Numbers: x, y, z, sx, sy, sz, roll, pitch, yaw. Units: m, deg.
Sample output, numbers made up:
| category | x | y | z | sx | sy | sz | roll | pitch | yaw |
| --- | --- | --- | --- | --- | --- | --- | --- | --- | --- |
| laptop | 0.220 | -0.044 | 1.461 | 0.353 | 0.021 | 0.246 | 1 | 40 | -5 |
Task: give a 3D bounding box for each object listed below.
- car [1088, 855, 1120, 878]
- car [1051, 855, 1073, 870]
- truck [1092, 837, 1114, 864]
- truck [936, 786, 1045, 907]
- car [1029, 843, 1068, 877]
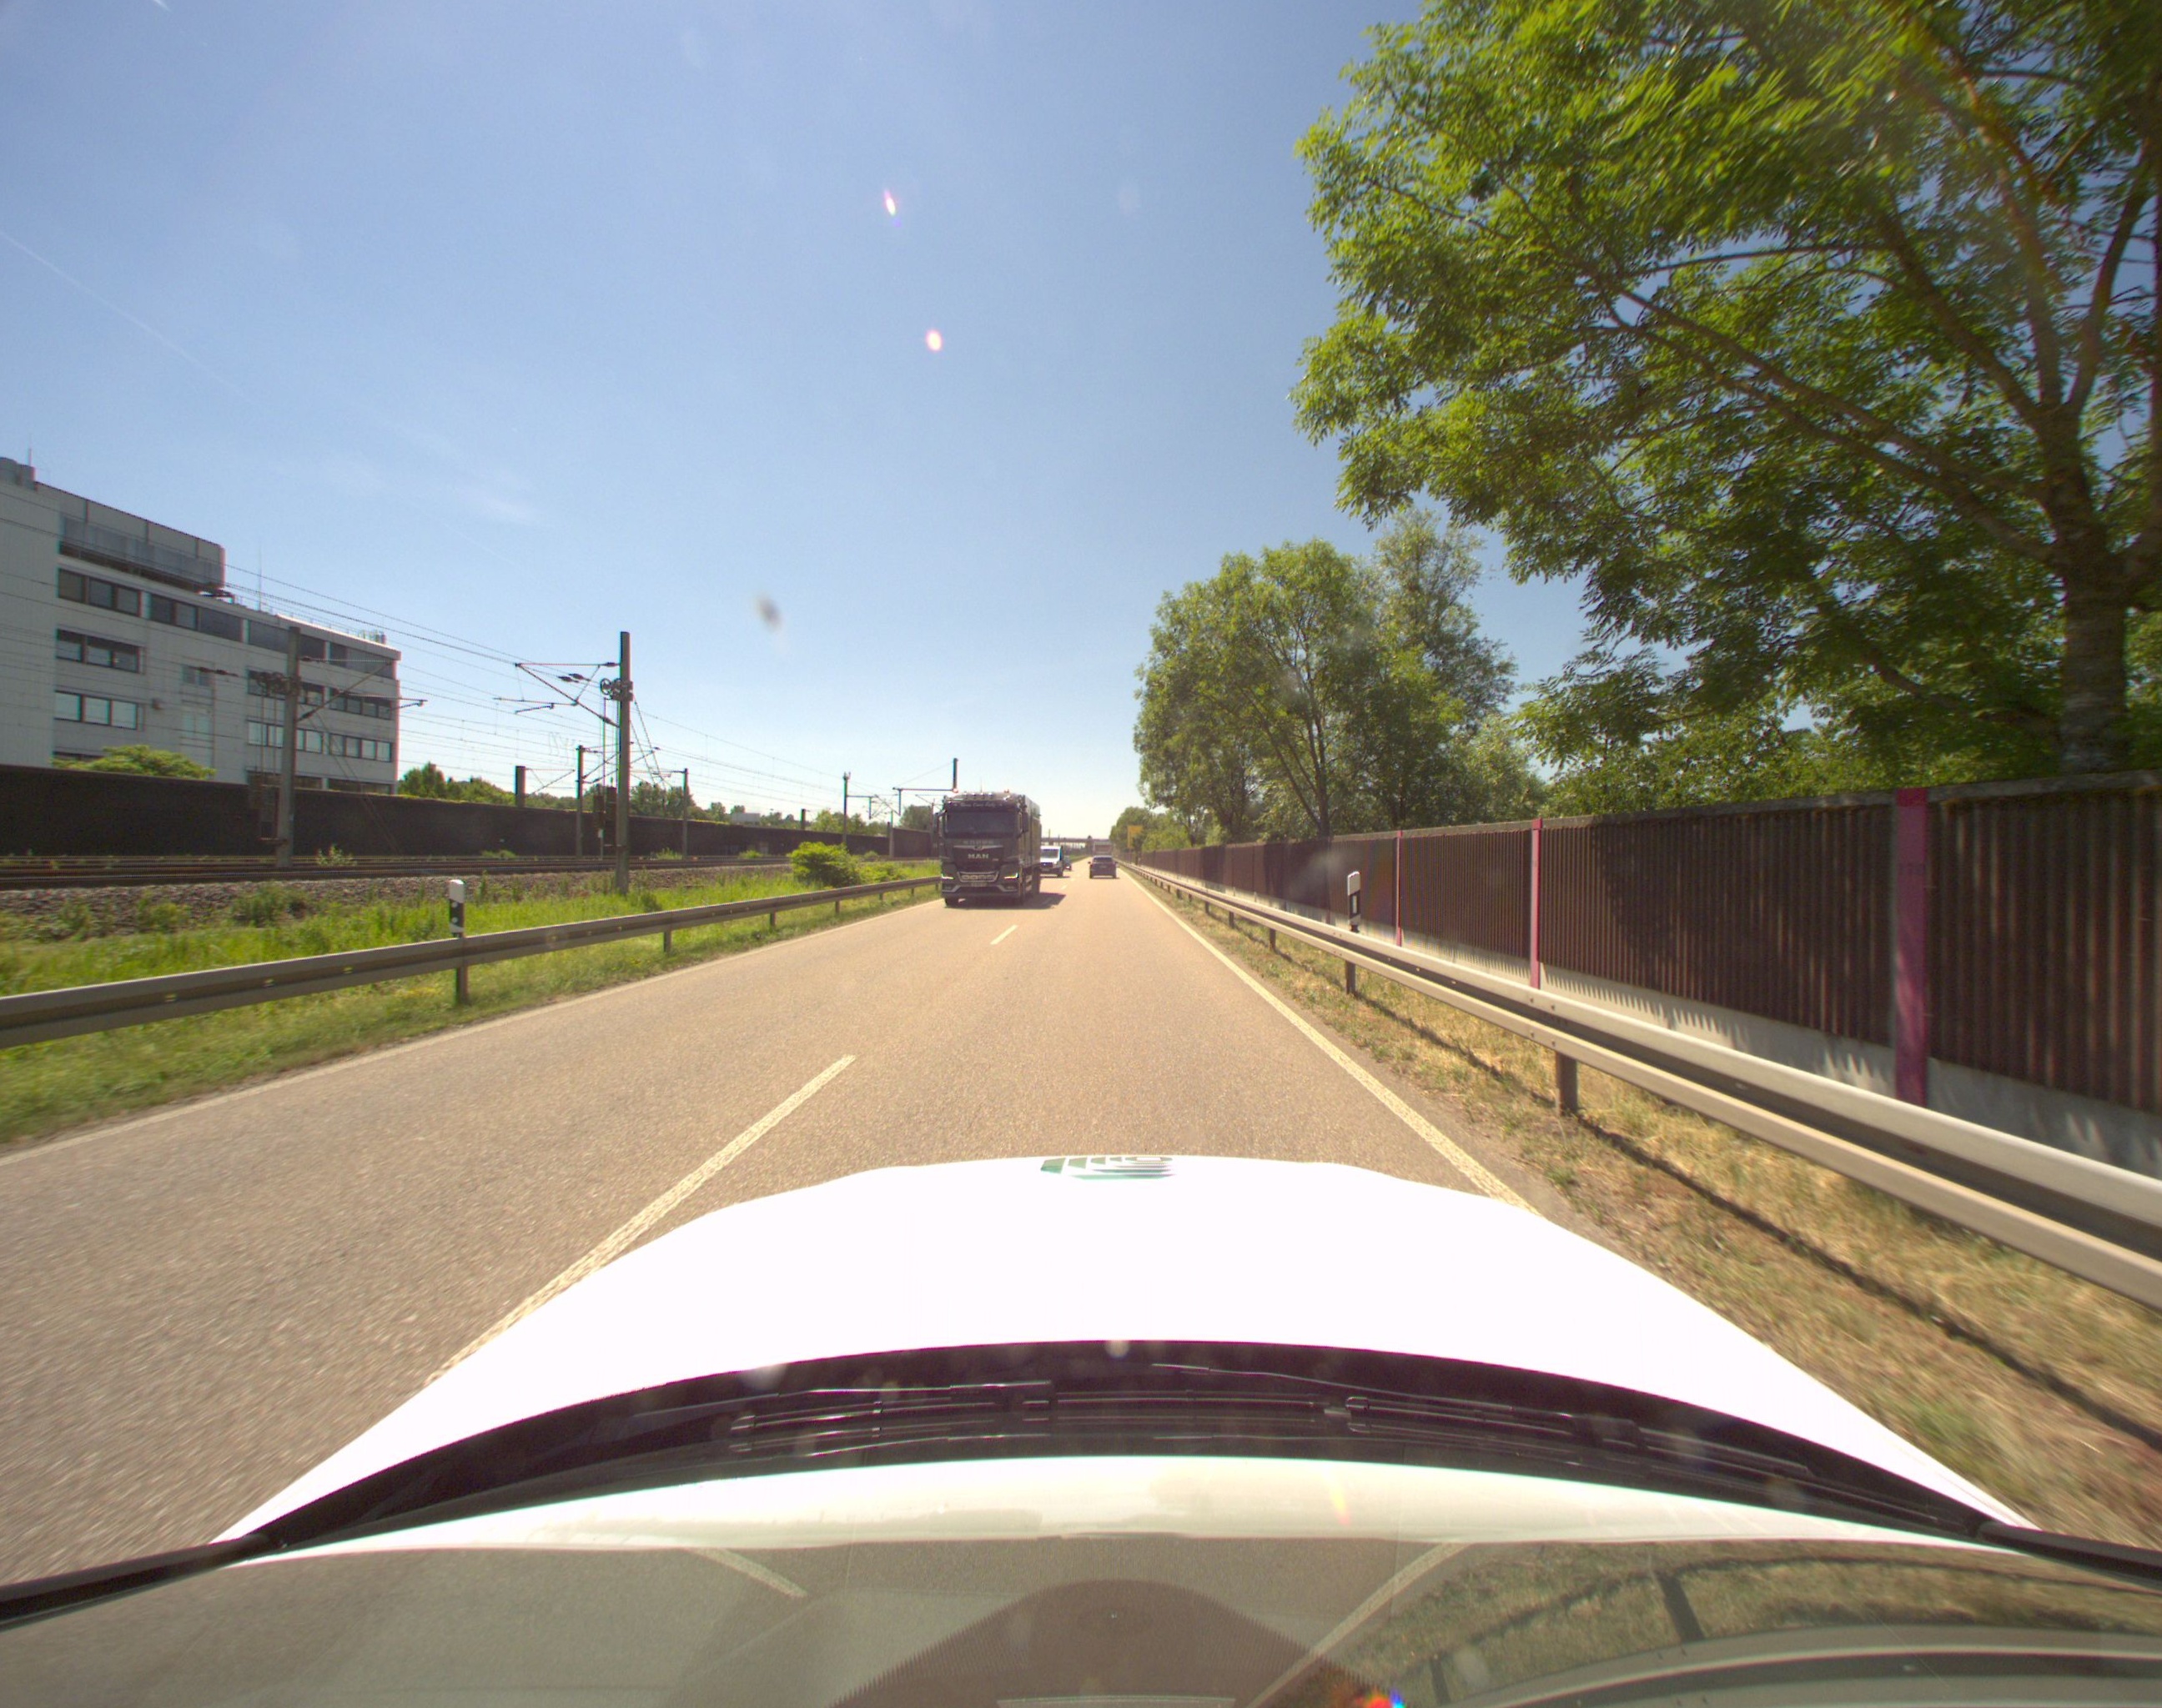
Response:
| category | x | y | z | sx | sy | sz | roll | pitch | yaw |
| --- | --- | --- | --- | --- | --- | --- | --- | --- | --- |
| car | 1.525 | 0.827 | 55.524 | 1.987 | 1.508 | 3.999 | -1 | 0 | -1 |
| car | -1.890 | 0.863 | 82.614 | 1.967 | 1.508 | 4.164 | 0 | 0 | 2 |
| truck | 2.953 | -0.475 | 108.984 | 2.760 | 3.425 | 10.823 | 0 | 0 | 2 |
| truck | -2.964 | -0.251 | 29.894 | 2.649 | 3.627 | 10.978 | 0 | 0 | 1 |
| car | -2.263 | 0.408 | 58.388 | 2.252 | 2.287 | 6.239 | 0 | 0 | 3 |
